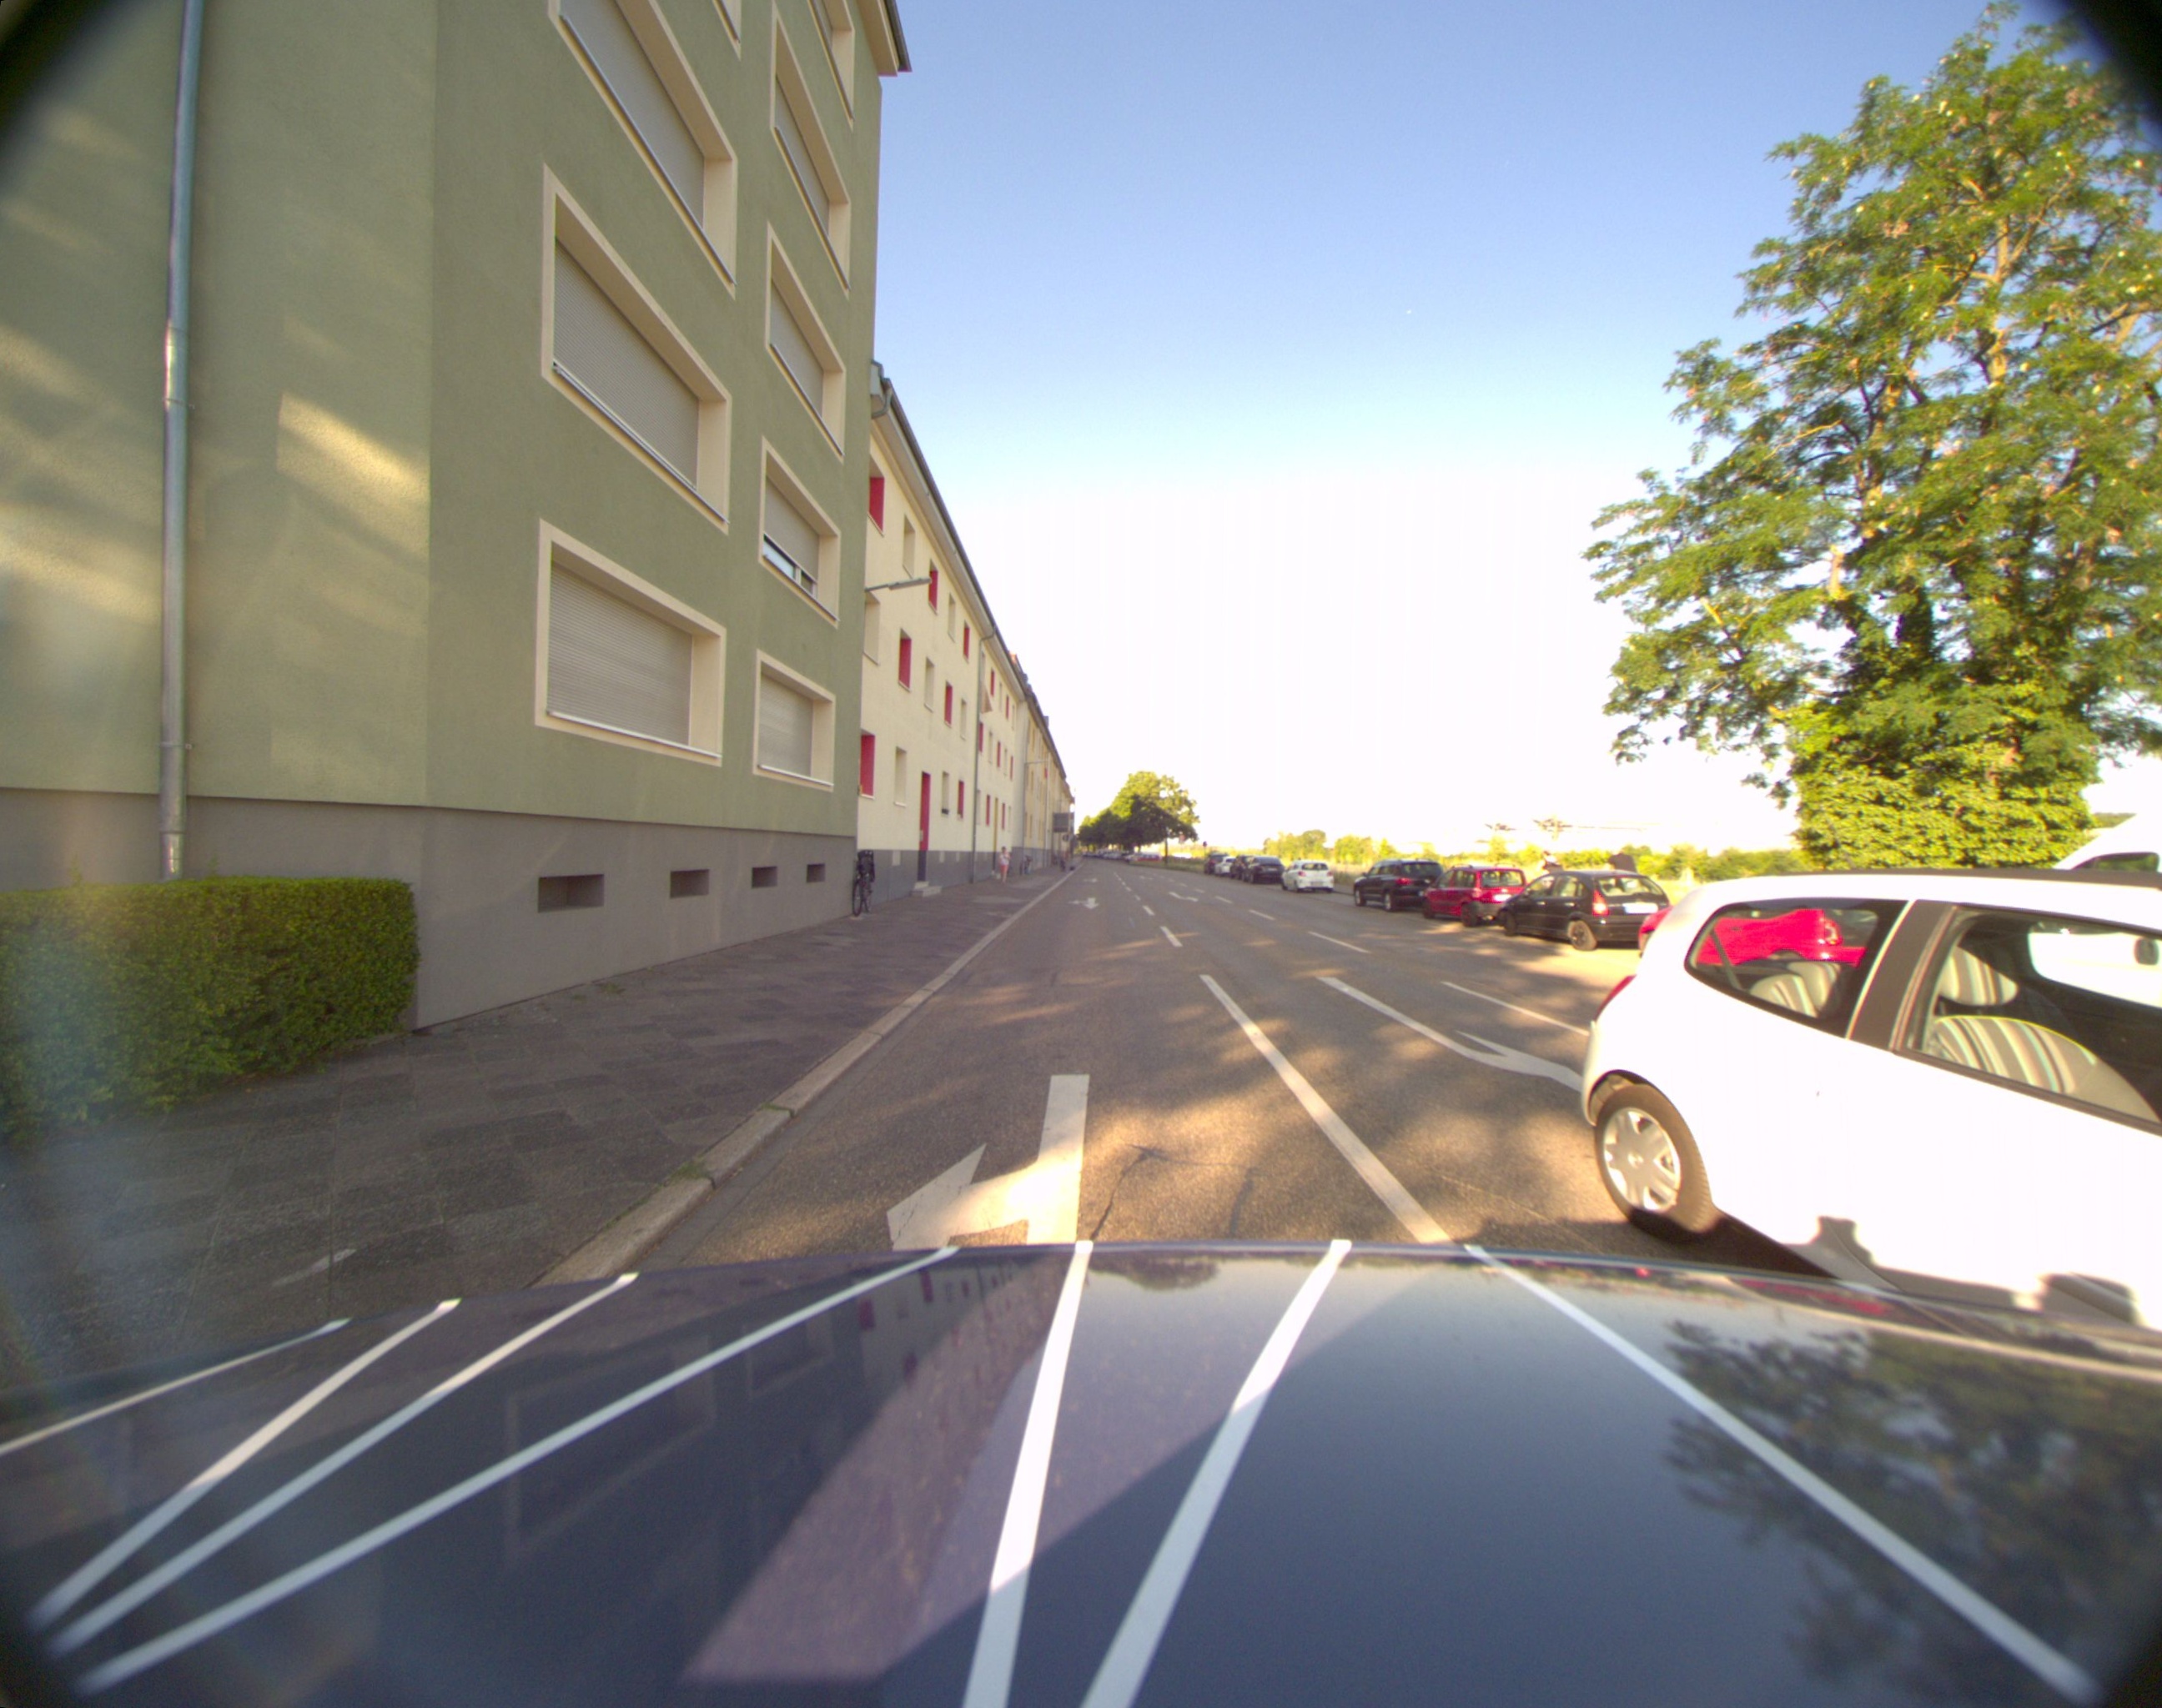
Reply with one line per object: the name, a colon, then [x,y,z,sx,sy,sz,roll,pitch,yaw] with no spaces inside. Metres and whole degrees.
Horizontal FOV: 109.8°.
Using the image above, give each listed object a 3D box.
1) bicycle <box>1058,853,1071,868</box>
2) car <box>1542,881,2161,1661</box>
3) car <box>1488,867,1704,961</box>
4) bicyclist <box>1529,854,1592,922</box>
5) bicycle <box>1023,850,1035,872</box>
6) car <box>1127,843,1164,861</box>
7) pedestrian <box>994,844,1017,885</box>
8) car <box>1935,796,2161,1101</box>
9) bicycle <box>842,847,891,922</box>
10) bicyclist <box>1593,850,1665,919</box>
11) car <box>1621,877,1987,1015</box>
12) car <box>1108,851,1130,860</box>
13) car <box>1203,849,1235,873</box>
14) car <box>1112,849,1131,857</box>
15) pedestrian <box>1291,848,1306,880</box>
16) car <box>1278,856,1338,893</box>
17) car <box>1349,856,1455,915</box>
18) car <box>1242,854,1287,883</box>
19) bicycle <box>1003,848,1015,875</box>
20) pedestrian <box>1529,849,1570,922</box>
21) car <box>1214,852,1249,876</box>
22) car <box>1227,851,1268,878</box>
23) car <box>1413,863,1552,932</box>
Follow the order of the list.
bicycle: [-1.249,0.484,56.842,0.651,1.091,2.201,1,1,-8]
car: [3.011,0.891,1.609,1.705,1.460,3.775,2,1,-1]
car: [10.167,1.099,15.411,1.745,1.521,3.816,2,1,0]
bicyclist: [11.739,0.820,18.630,0.768,1.587,1.146,2,1,-1]
bicycle: [-3.164,0.426,46.306,0.517,1.318,2.210,2,1,2]
car: [9.520,-0.309,112.242,5.322,2.398,2.266,-2,1,0]
pedestrian: [-3.197,0.440,32.177,0.787,1.697,0.950,3,1,1]
car: [9.685,0.742,4.819,2.235,2.422,5.559,-1,1,-1]
bicycle: [-4.312,0.571,15.370,0.517,1.404,1.873,2,1,-3]
bicyclist: [13.164,0.718,18.299,0.866,1.587,1.146,2,1,1]
car: [10.065,1.173,11.042,1.745,1.478,3.694,2,1,0]
car: [7.487,0.240,149.733,3.997,1.708,2.000,2,1,-1]
car: [11.001,0.515,60.981,1.890,1.765,4.220,2,1,2]
car: [9.195,-0.237,173.165,3.997,1.708,2.000,2,1,-1]
pedestrian: [13.690,0.634,47.903,0.706,2.002,0.710,2,1,2]
car: [10.409,0.913,35.069,1.706,1.517,3.583,2,1,1]
car: [10.139,0.943,24.349,1.664,1.649,4.005,2,1,0]
car: [10.570,0.804,44.003,1.823,1.517,4.291,2,0,5]
bicycle: [-3.934,0.376,41.374,0.517,1.404,1.873,2,1,-3]
pedestrian: [13.086,0.861,21.253,0.615,2.002,0.730,2,1,-1]
car: [10.853,0.698,55.096,1.823,1.565,4.220,2,1,2]
car: [10.846,0.674,49.703,1.823,1.628,4.220,2,1,2]
car: [10.261,1.057,19.728,1.664,1.521,3.579,2,1,0]
